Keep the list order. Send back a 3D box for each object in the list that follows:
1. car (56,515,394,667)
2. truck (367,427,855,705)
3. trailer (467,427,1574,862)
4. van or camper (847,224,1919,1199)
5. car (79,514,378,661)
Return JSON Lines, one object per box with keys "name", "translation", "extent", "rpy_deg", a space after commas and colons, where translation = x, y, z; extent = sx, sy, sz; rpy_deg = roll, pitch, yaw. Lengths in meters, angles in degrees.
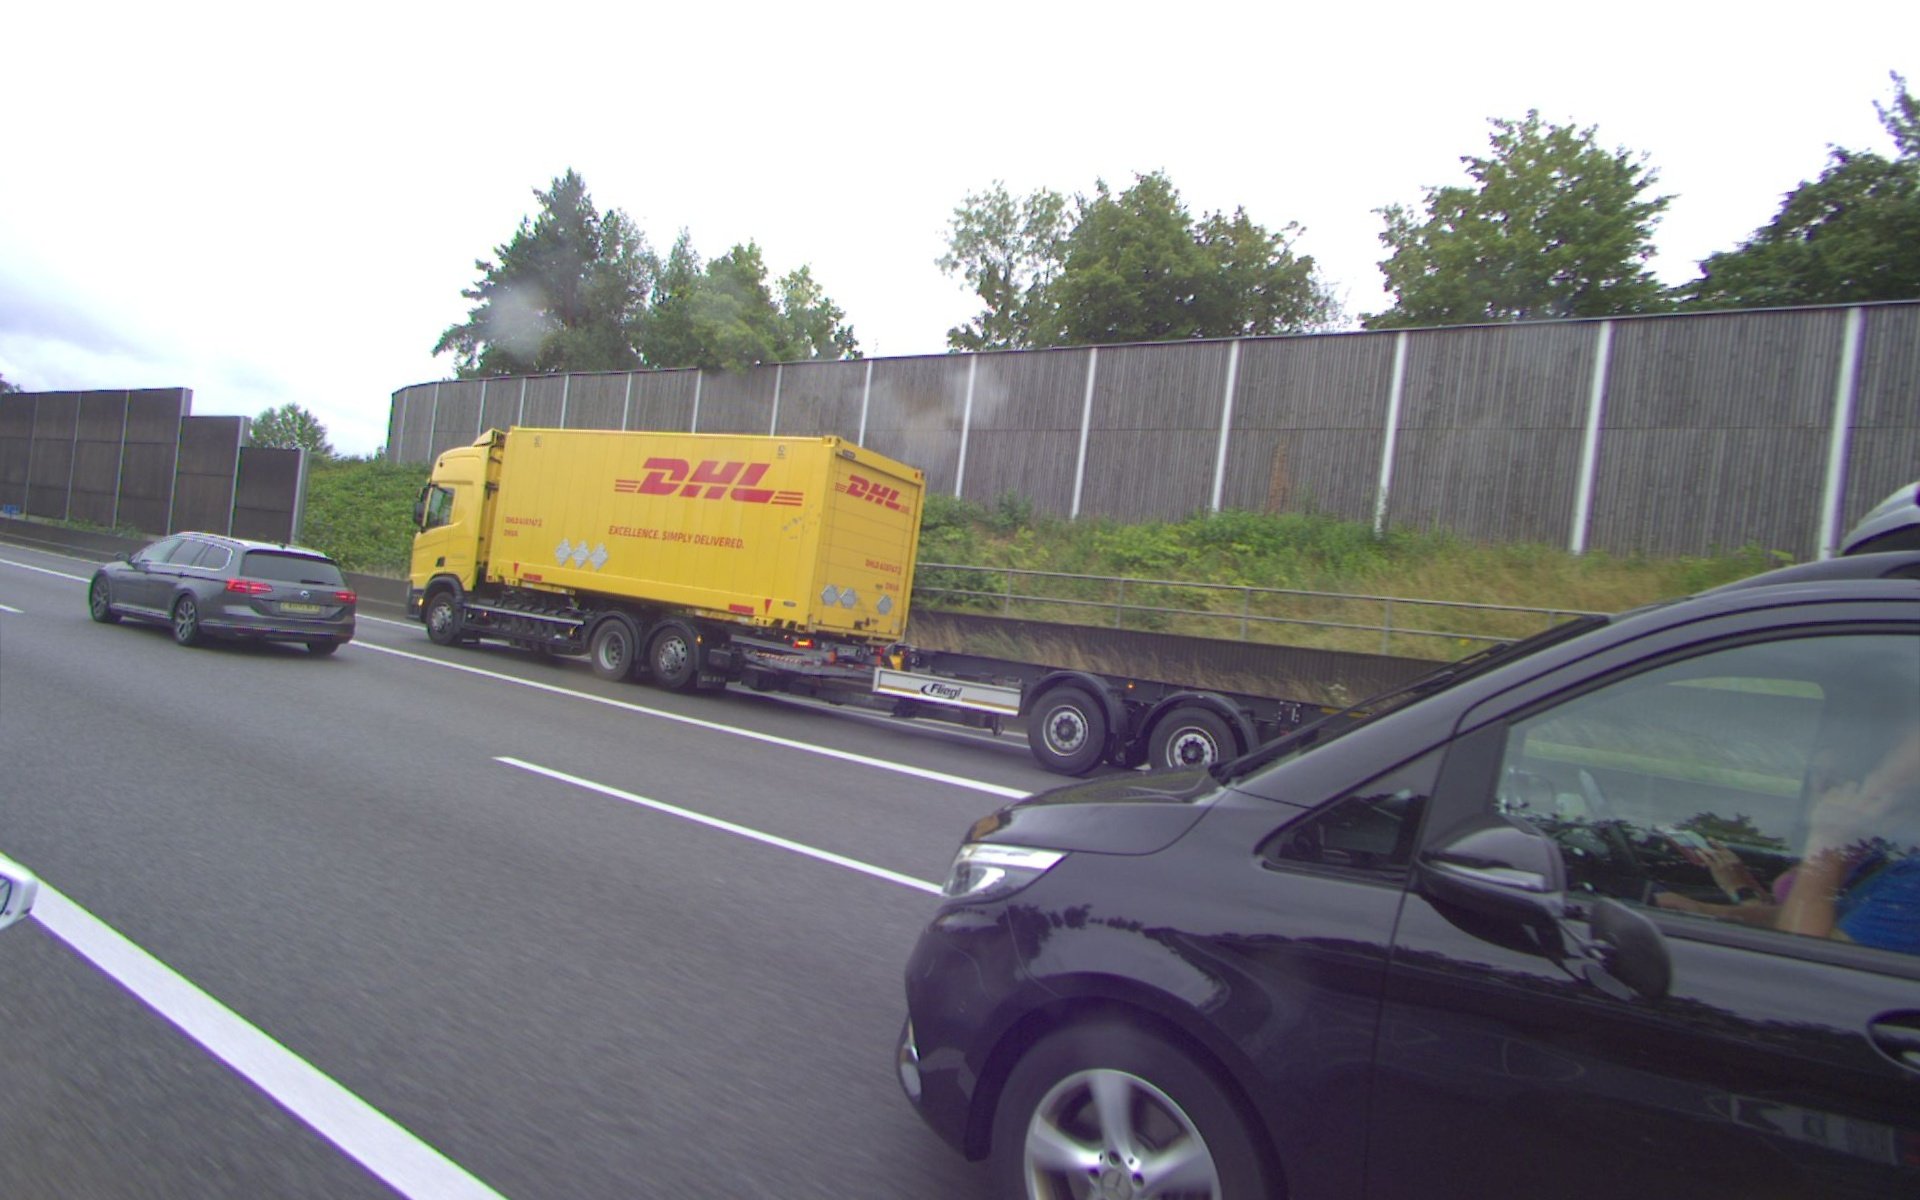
{"name": "car", "translation": [-10.477, -0.172, 14.220], "extent": [5.201, 1.443, 1.944], "rpy_deg": [7, -2, 32]}
{"name": "truck", "translation": [-6.608, -0.789, 18.227], "extent": [9.170, 4.003, 2.692], "rpy_deg": [6, -2, 31]}
{"name": "trailer", "translation": [-0.837, -0.179, 14.755], "extent": [16.407, 3.998, 2.657], "rpy_deg": [6, -2, 31]}
{"name": "van or camper", "translation": [2.691, 0.740, 1.830], "extent": [5.585, 2.296, 1.894], "rpy_deg": [6, -1, 32]}
{"name": "car", "translation": [-10.194, -0.210, 13.930], "extent": [4.396, 1.473, 1.667], "rpy_deg": [6, -2, 31]}
